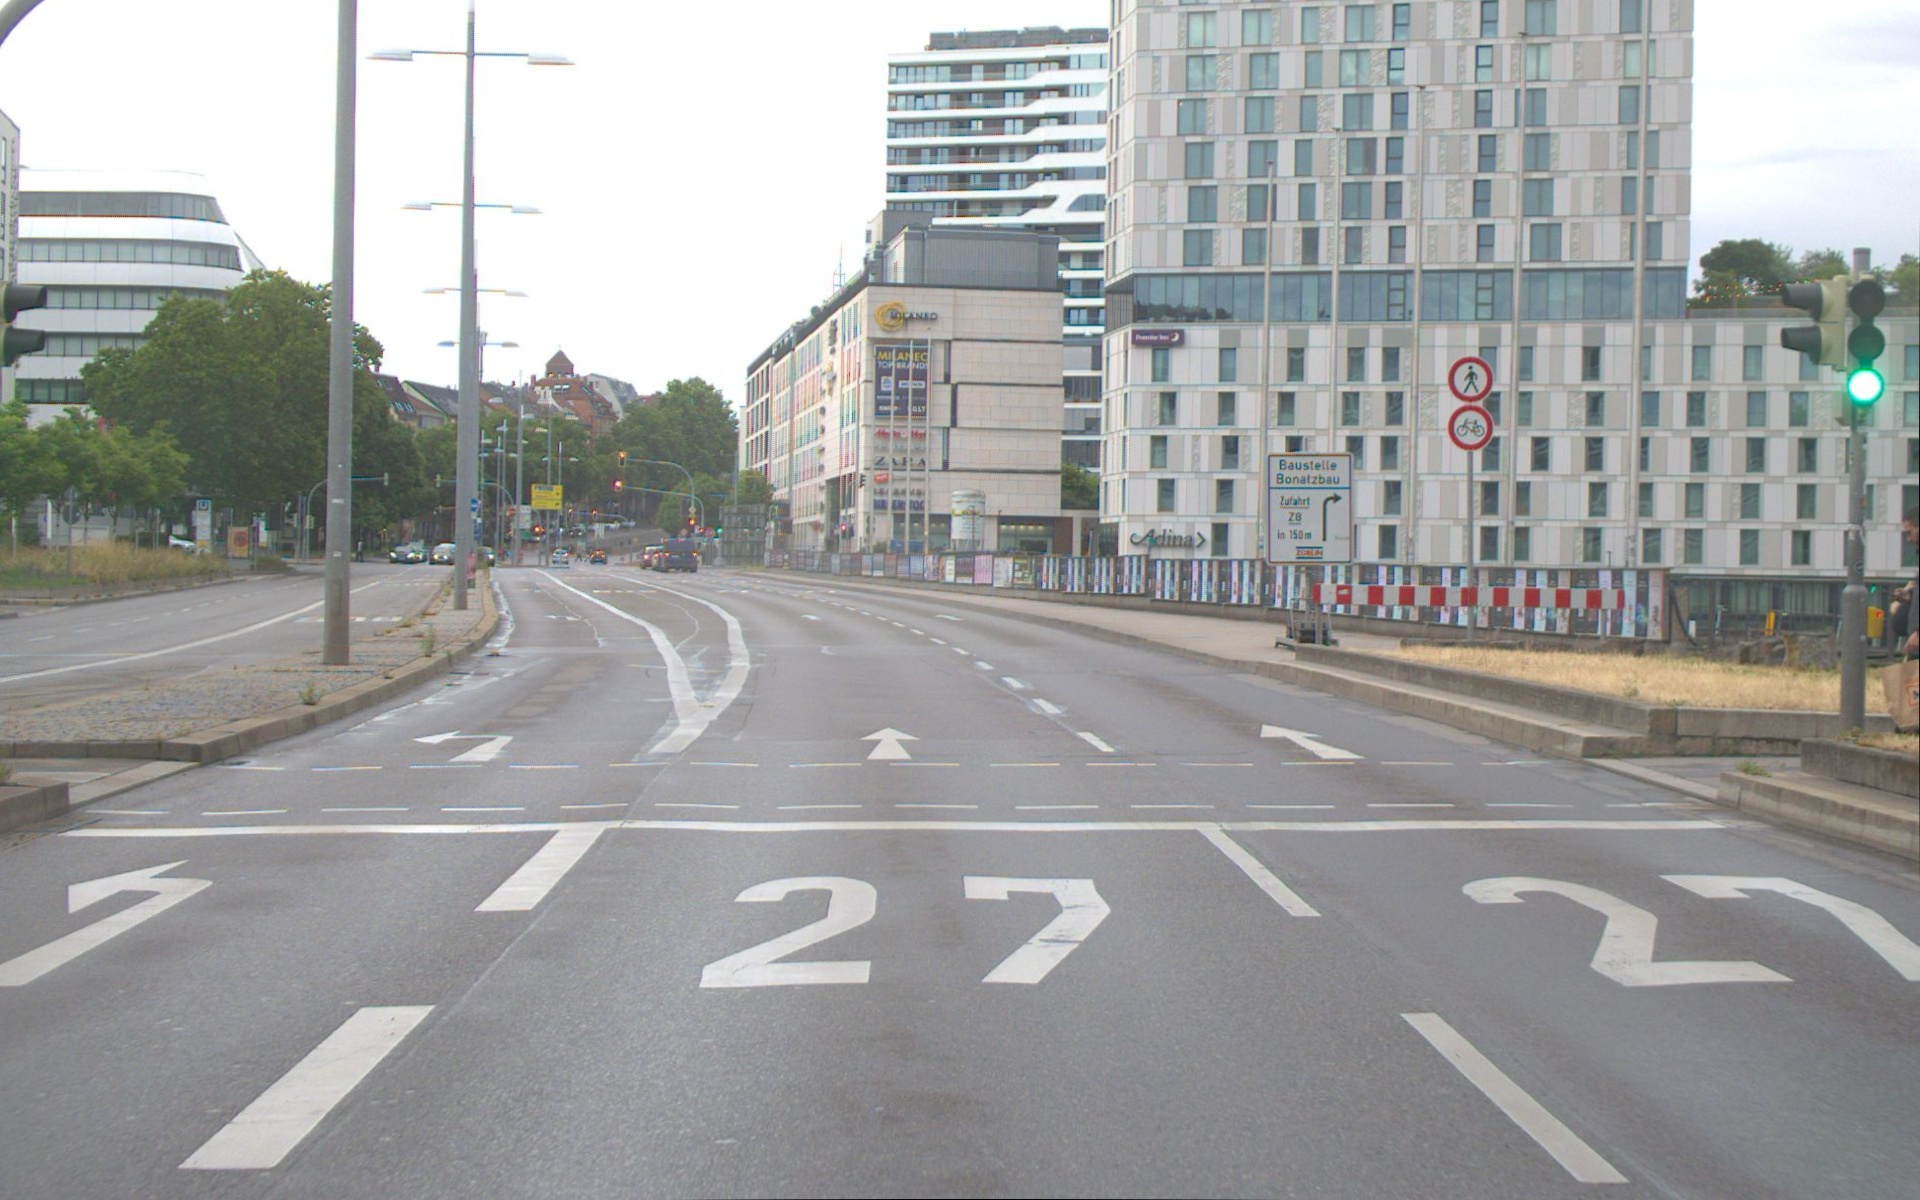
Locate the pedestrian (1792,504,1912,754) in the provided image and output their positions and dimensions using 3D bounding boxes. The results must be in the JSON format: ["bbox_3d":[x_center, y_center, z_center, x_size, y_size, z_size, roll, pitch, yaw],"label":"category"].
[{"bbox_3d":[5.749,0.173,22.154,0.550,1.572,0.669,1,3,33],"label":"pedestrian"}]

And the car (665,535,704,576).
[{"bbox_3d":[-15.875,-2.569,198.047,1.993,2.335,4.000,1,1,-2],"label":"car"}]

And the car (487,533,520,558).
[{"bbox_3d":[-33.720,-4.027,254.071,1.993,1.776,4.001,0,2,-2],"label":"car"}]

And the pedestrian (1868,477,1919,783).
[{"bbox_3d":[5.993,0.172,20.961,0.781,1.835,0.551,-2,3,-44],"label":"pedestrian"}]

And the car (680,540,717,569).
[{"bbox_3d":[-17.263,-3.045,227.212,1.993,1.809,4.000,0,2,2],"label":"car"}]
